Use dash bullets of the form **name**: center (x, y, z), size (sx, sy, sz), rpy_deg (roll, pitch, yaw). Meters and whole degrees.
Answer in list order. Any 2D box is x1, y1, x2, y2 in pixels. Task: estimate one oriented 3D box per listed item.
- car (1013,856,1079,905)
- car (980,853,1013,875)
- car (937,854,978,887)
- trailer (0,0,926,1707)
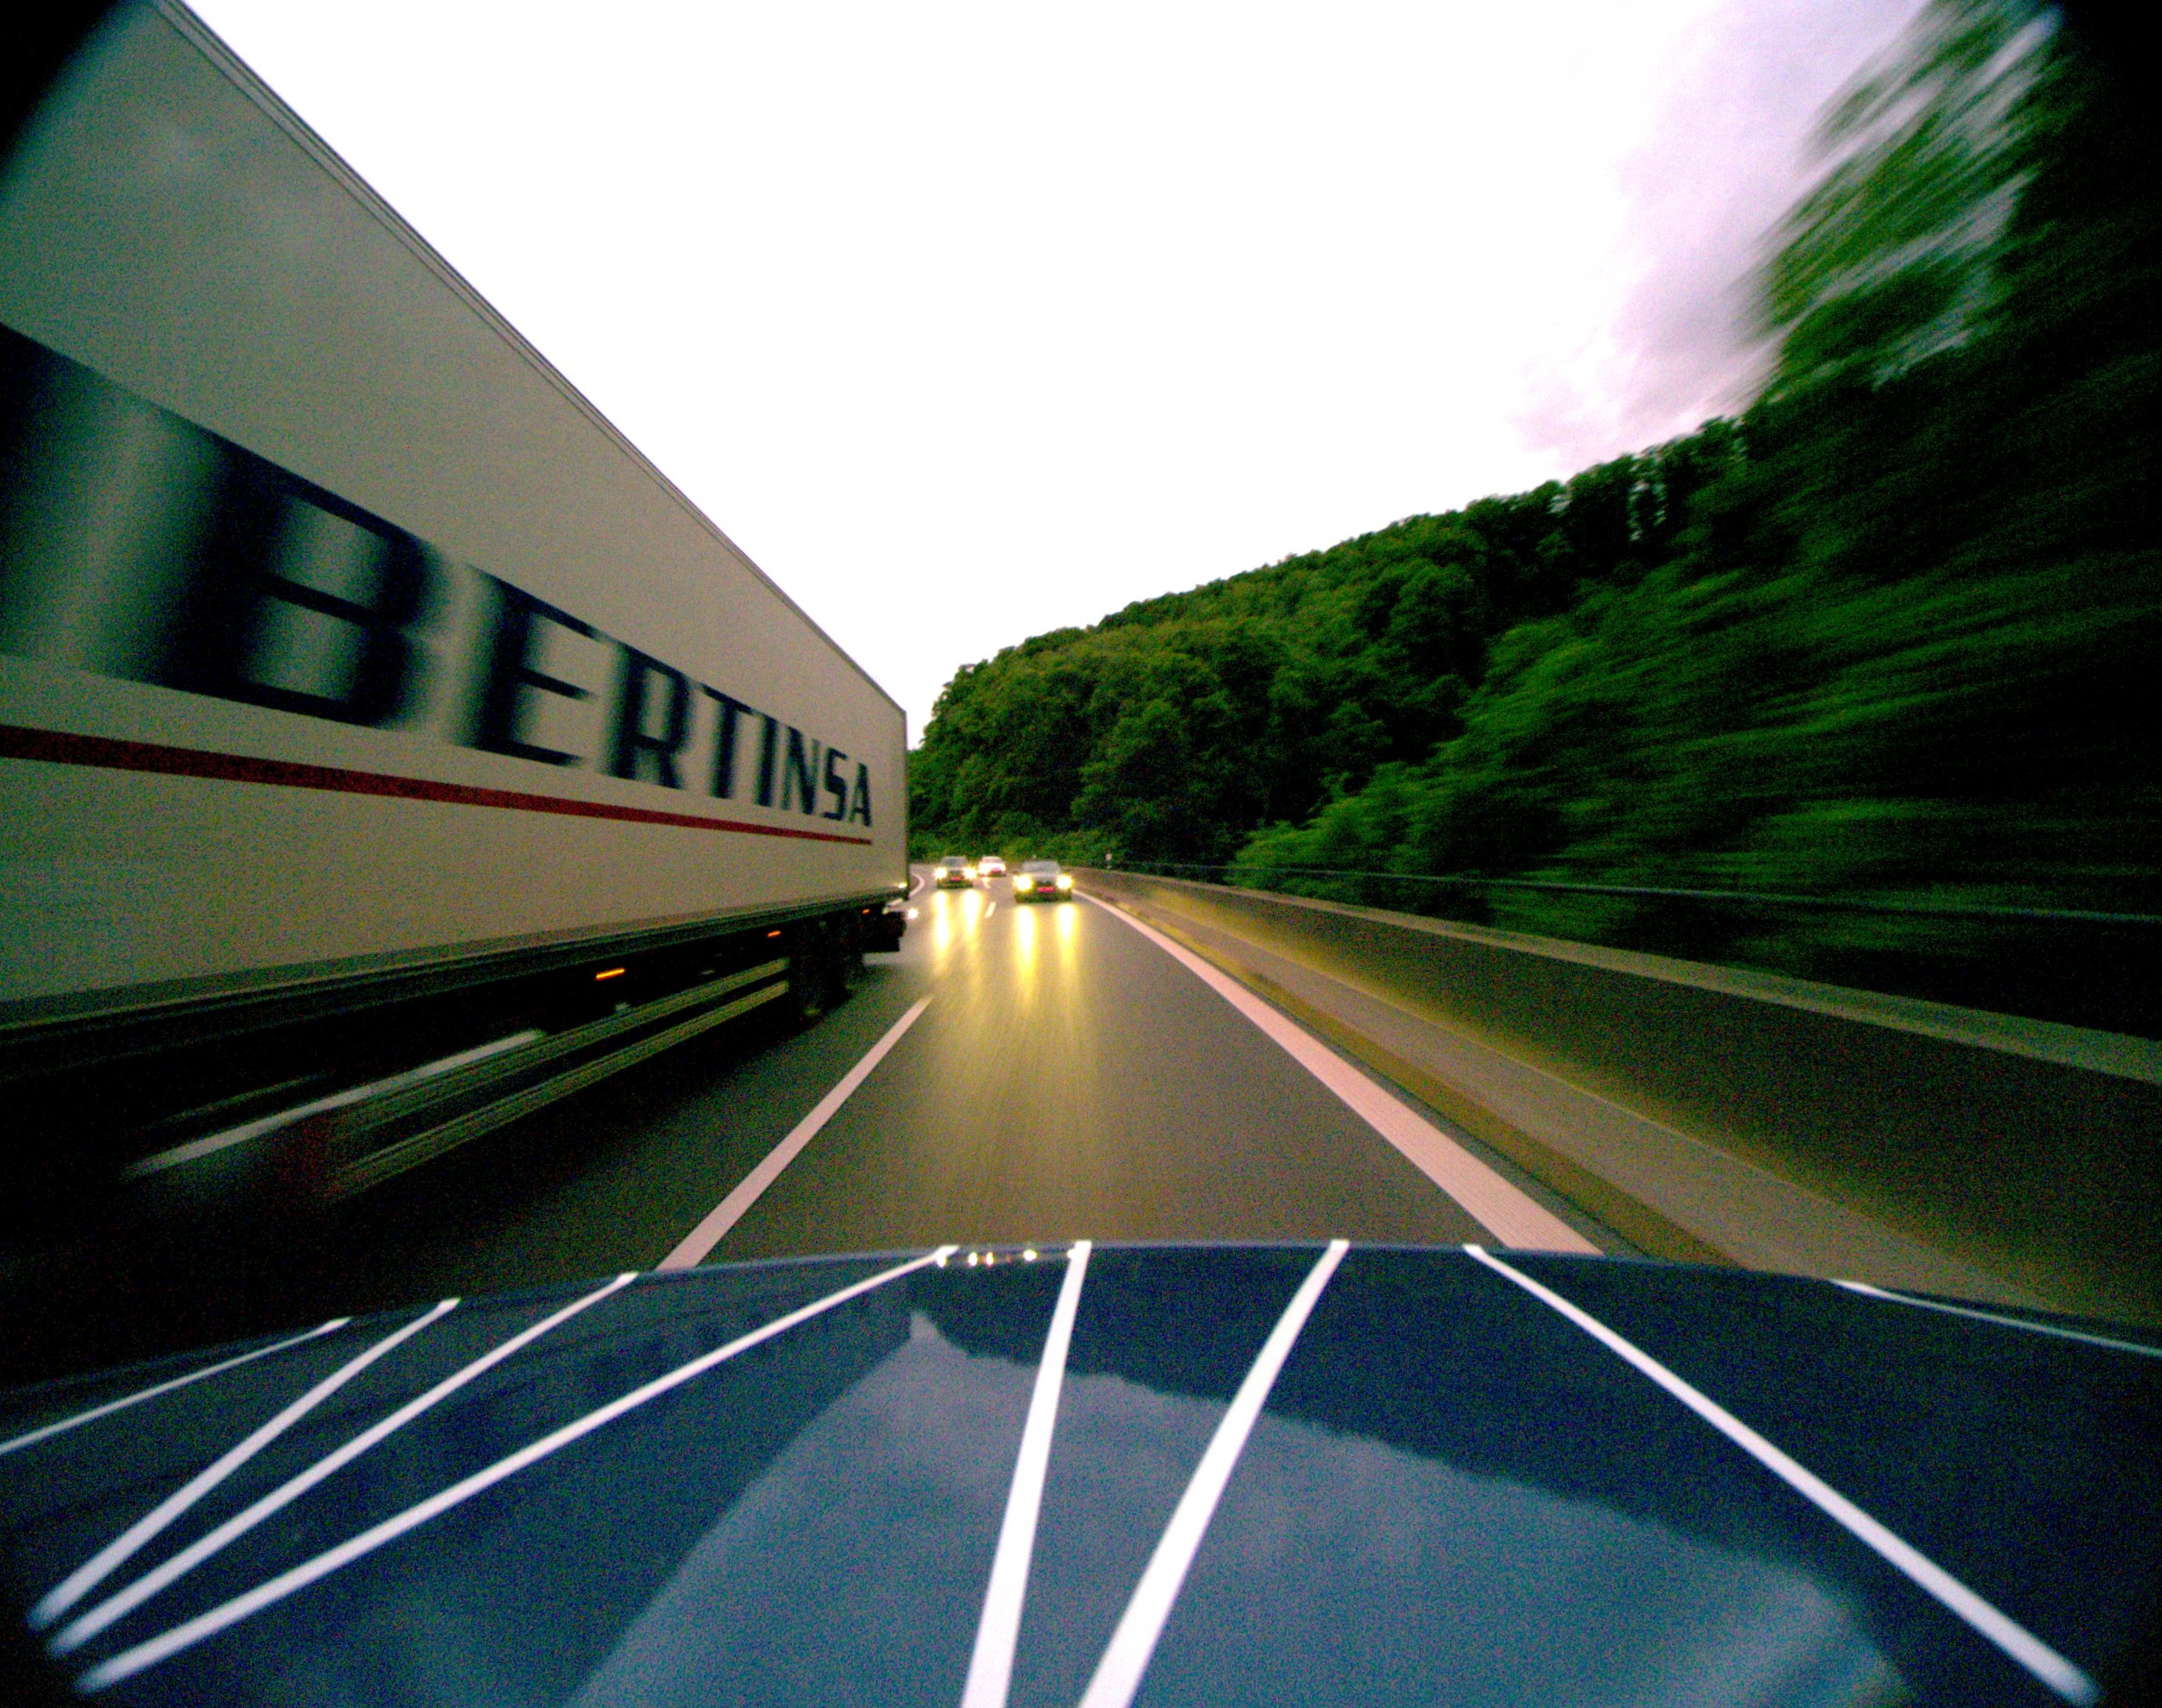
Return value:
- **car**: center (-1.326, 0.882, 27.065), size (2.000, 1.499, 3.997), rpy_deg (-2, 1, -8)
- **car**: center (-6.438, 0.763, 57.570), size (2.001, 1.499, 3.995), rpy_deg (3, 0, -13)
- **car**: center (-6.623, 0.834, 40.414), size (2.000, 1.630, 3.996), rpy_deg (-1, 0, -11)
- **trailer**: center (-3.868, -0.178, 4.931), size (3.105, 3.947, 14.214), rpy_deg (0, 0, -1)
